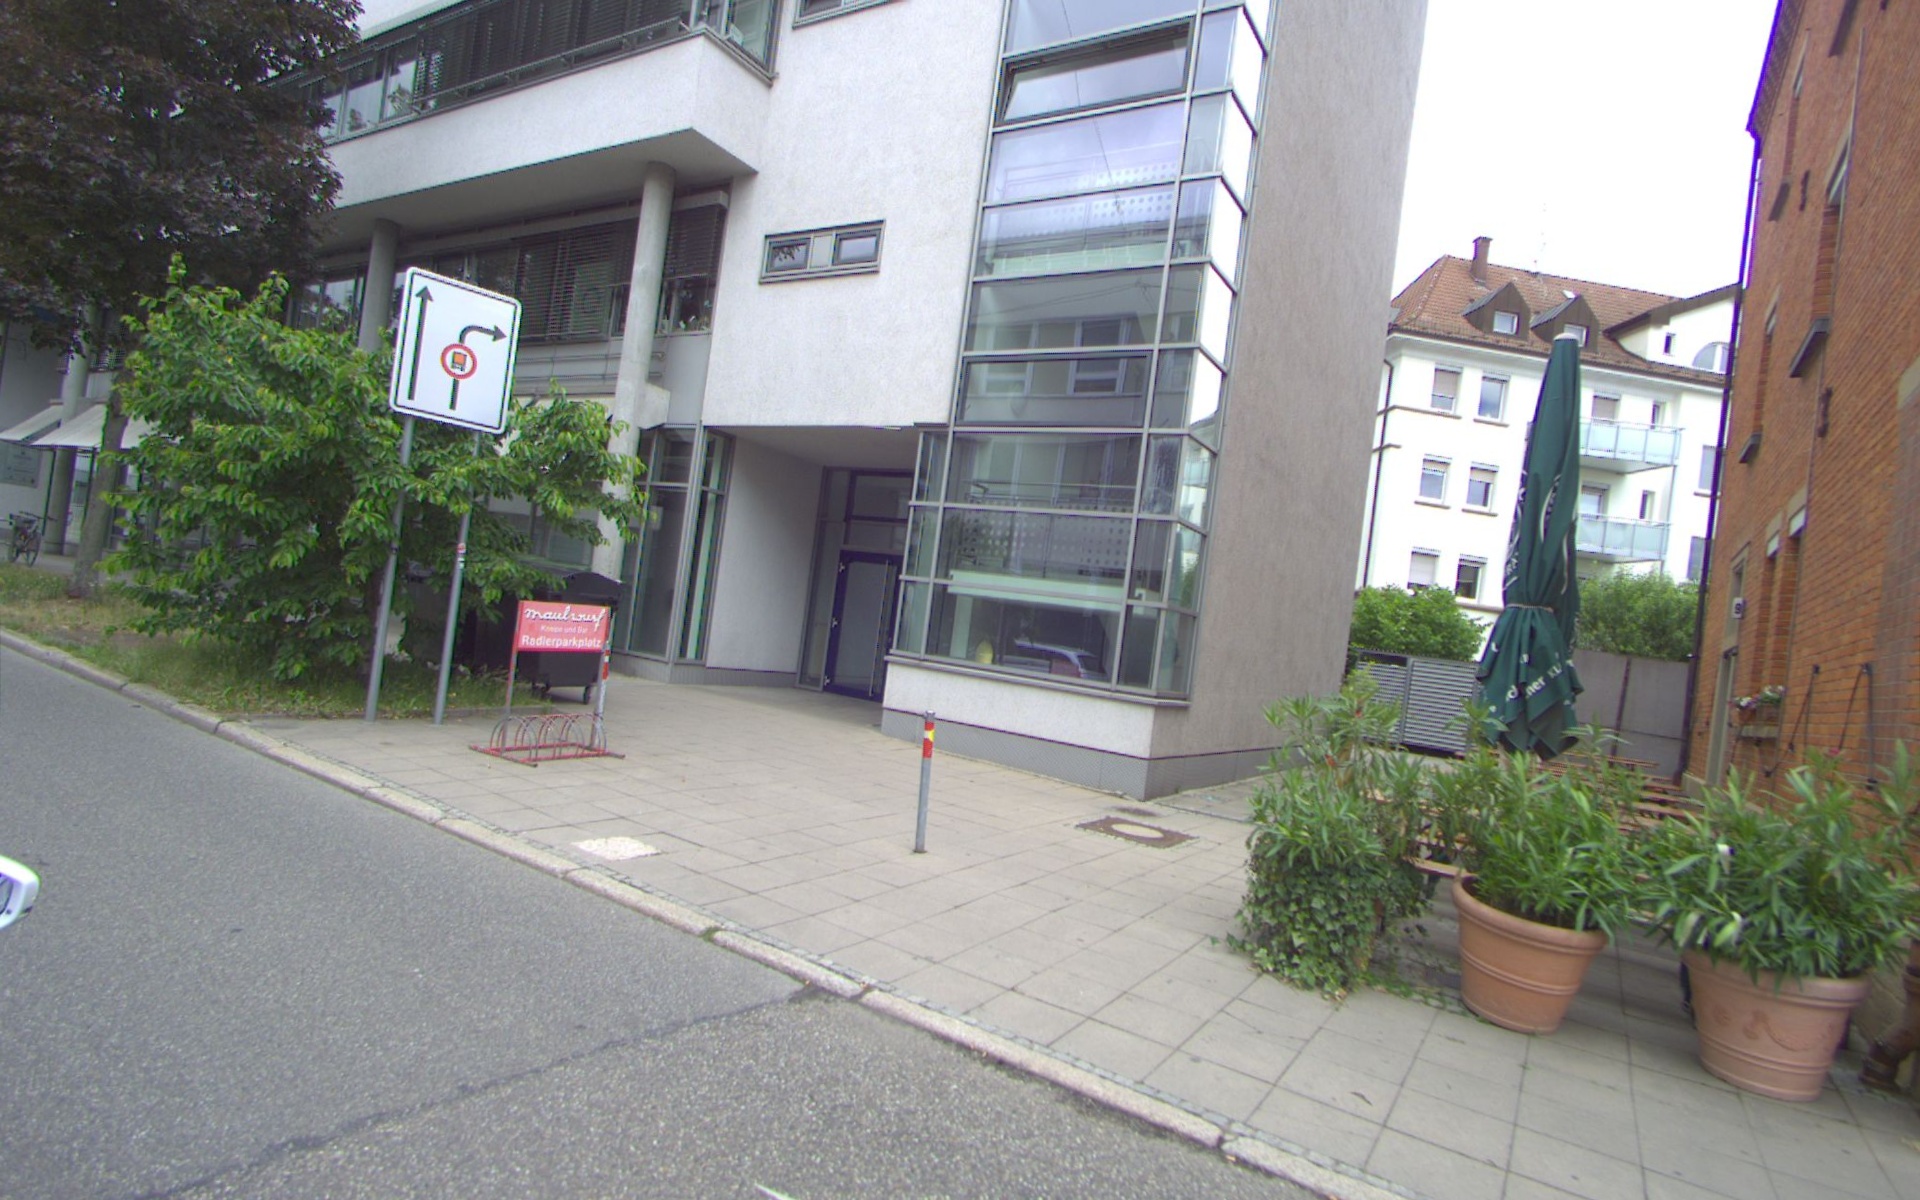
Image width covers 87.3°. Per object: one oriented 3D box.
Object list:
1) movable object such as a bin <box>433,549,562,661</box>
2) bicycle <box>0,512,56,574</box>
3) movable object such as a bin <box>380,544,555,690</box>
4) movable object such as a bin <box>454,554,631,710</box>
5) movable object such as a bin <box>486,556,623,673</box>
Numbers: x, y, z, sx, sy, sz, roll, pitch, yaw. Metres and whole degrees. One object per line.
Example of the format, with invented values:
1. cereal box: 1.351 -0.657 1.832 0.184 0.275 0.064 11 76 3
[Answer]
1. movable object such as a bin: -6.945 0.084 15.126 1.311 1.484 1.099 7 1 31
2. bicycle: -19.426 -1.189 20.844 1.993 1.099 0.361 7 -2 31
3. movable object such as a bin: -5.707 0.206 11.677 1.389 1.484 1.128 7 1 31
4. movable object such as a bin: -4.553 0.347 10.991 1.311 1.484 1.099 7 1 31
5. movable object such as a bin: -5.808 0.218 14.432 1.311 1.484 1.123 7 1 31
